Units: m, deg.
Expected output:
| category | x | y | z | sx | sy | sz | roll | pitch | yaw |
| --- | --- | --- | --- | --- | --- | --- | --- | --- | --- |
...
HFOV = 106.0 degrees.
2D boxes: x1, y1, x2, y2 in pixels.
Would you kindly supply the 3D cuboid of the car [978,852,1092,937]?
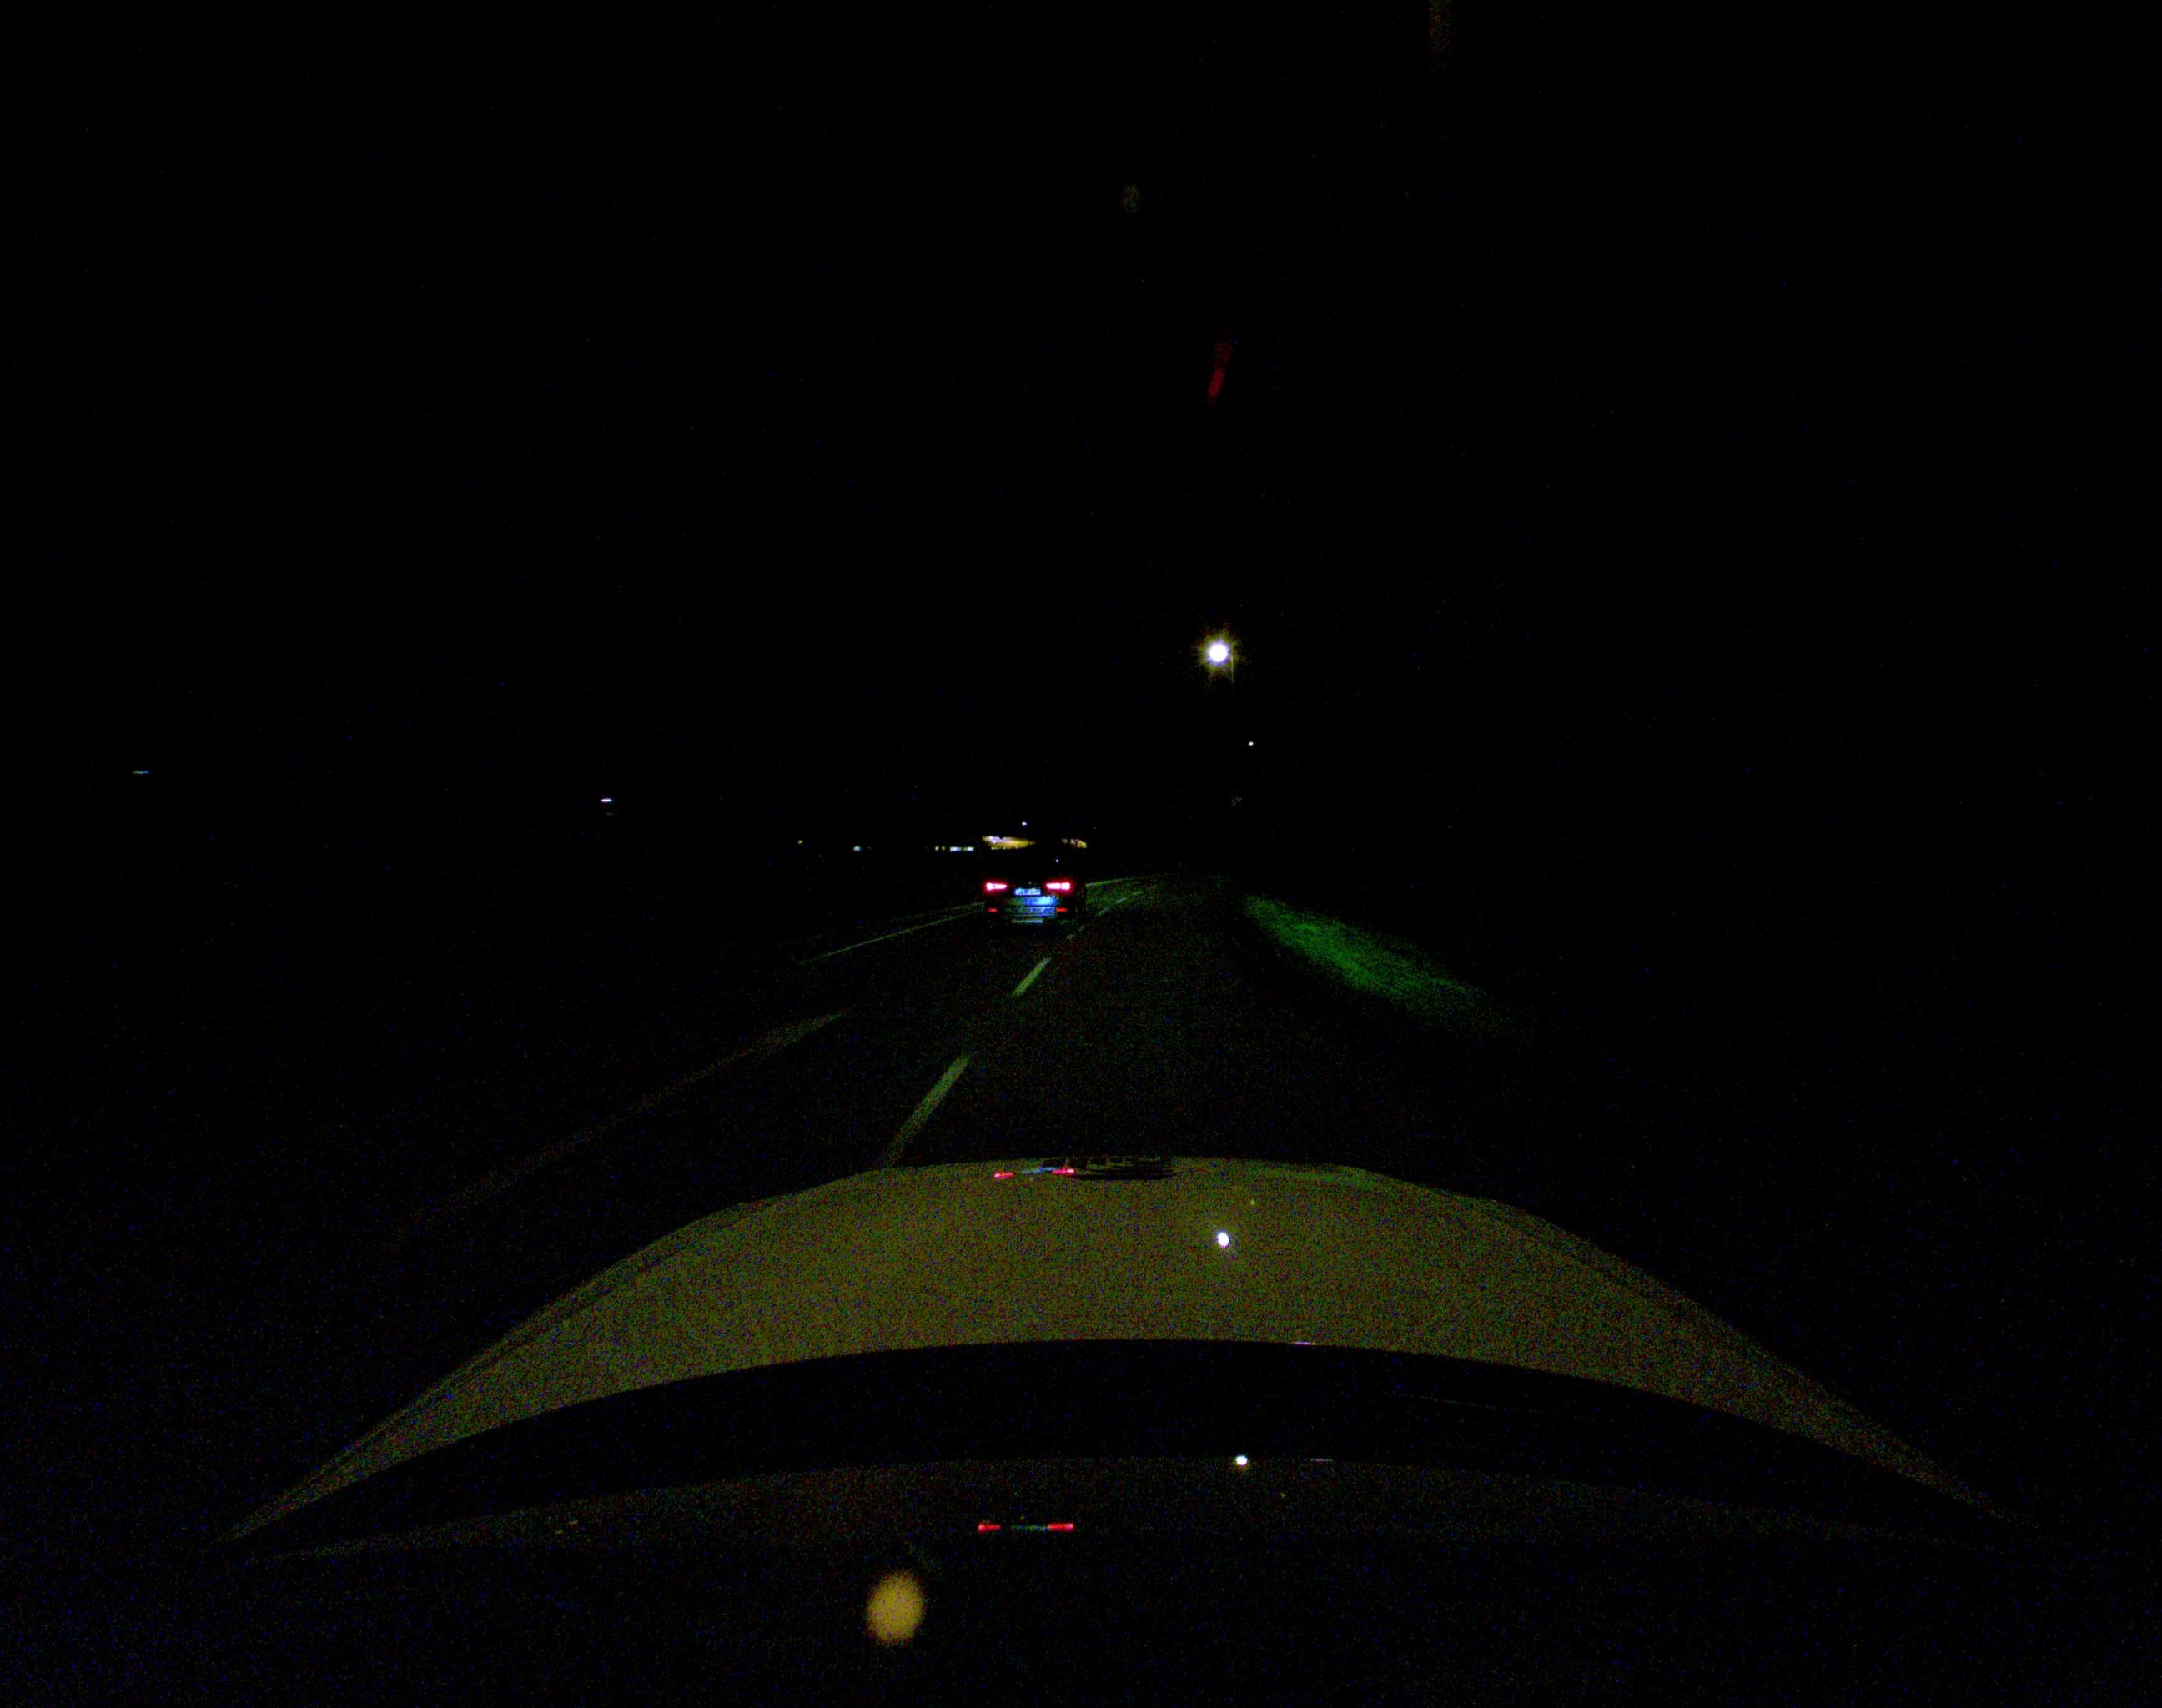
| category | x | y | z | sx | sy | sz | roll | pitch | yaw |
| --- | --- | --- | --- | --- | --- | --- | --- | --- | --- |
| car | -0.836 | 0.758 | 17.164 | 1.843 | 1.582 | 4.012 | -1 | 0 | 5 |
